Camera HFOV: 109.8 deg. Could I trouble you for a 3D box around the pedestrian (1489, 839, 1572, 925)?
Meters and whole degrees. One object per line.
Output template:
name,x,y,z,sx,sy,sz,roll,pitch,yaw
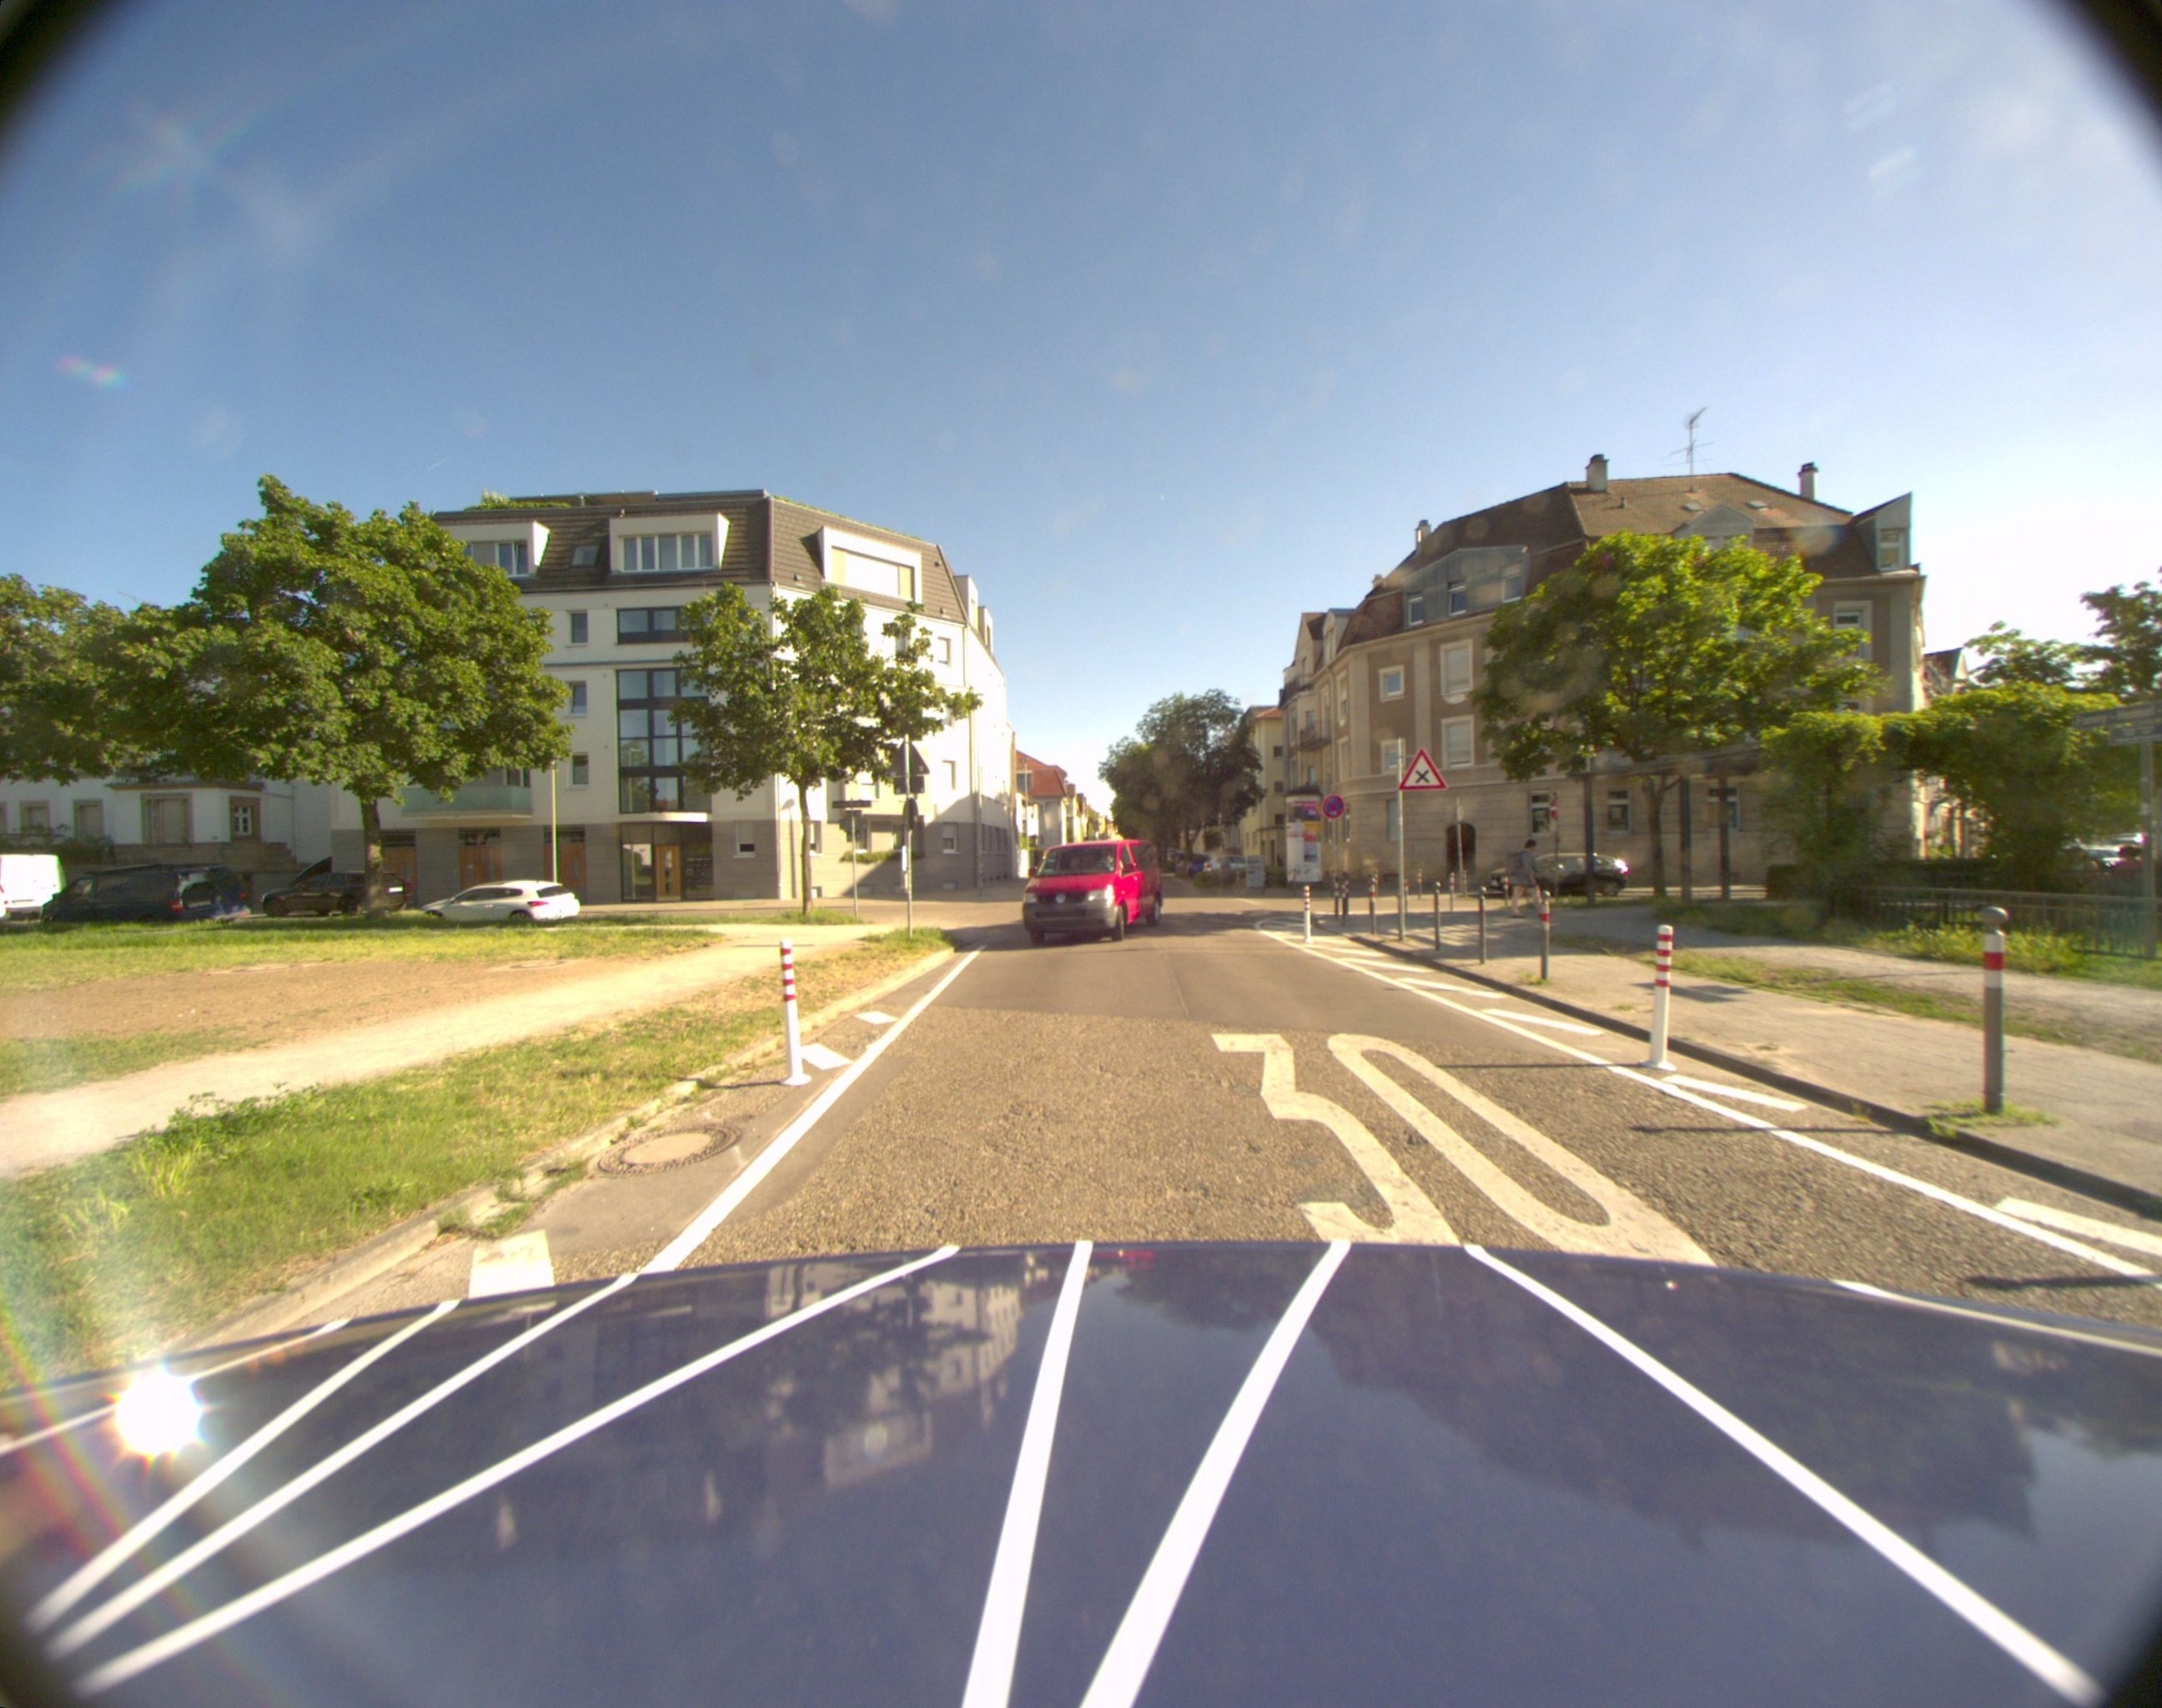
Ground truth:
pedestrian,9.337,0.556,15.807,1.090,1.665,0.912,-5,1,-15

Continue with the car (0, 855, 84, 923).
car,-42.310,1.353,29.731,3.990,2.534,2.023,-1,2,4

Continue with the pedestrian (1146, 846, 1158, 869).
pedestrian,6.355,0.297,68.250,1.023,2.002,1.071,-1,0,2

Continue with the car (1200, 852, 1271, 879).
car,9.059,0.649,44.638,3.788,1.436,1.692,-2,0,0

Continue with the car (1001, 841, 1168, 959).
car,0.286,0.759,15.723,1.892,1.950,4.892,0,2,20

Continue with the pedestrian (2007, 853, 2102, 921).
pedestrian,16.912,0.563,13.215,0.845,1.143,0.599,-1,1,4

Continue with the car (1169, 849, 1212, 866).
car,10.436,0.317,72.789,3.789,1.486,1.692,-2,0,-2

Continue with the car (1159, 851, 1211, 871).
car,8.359,0.538,61.177,3.791,1.486,1.691,-2,0,-10

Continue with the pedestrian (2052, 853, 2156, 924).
pedestrian,16.850,0.564,12.536,0.874,1.132,0.599,-1,1,4

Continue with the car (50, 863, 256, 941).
car,-27.787,1.418,22.834,3.990,2.073,1.783,-1,5,4

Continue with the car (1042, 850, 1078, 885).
car,-1.149,0.724,43.597,1.664,1.825,4.257,2,0,4

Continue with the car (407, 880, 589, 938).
car,-17.117,1.589,22.422,3.990,1.426,1.739,-1,4,3

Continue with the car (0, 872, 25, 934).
car,-35.980,1.628,23.379,4.419,1.874,1.875,-1,4,4

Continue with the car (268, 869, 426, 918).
car,-27.850,1.488,28.921,4.284,1.673,1.896,-1,2,4

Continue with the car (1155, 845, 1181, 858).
car,12.524,-0.329,109.497,3.527,1.693,1.692,-2,1,1

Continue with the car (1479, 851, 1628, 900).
car,16.405,0.732,26.552,4.012,1.476,1.867,-1,3,0

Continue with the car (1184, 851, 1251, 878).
car,8.366,0.642,46.859,3.788,1.486,1.692,-2,0,0

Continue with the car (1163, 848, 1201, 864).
car,10.230,0.196,77.007,3.528,1.486,1.692,-2,0,-2

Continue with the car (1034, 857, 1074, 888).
car,-1.349,0.900,39.137,1.664,1.440,3.689,2,0,3
